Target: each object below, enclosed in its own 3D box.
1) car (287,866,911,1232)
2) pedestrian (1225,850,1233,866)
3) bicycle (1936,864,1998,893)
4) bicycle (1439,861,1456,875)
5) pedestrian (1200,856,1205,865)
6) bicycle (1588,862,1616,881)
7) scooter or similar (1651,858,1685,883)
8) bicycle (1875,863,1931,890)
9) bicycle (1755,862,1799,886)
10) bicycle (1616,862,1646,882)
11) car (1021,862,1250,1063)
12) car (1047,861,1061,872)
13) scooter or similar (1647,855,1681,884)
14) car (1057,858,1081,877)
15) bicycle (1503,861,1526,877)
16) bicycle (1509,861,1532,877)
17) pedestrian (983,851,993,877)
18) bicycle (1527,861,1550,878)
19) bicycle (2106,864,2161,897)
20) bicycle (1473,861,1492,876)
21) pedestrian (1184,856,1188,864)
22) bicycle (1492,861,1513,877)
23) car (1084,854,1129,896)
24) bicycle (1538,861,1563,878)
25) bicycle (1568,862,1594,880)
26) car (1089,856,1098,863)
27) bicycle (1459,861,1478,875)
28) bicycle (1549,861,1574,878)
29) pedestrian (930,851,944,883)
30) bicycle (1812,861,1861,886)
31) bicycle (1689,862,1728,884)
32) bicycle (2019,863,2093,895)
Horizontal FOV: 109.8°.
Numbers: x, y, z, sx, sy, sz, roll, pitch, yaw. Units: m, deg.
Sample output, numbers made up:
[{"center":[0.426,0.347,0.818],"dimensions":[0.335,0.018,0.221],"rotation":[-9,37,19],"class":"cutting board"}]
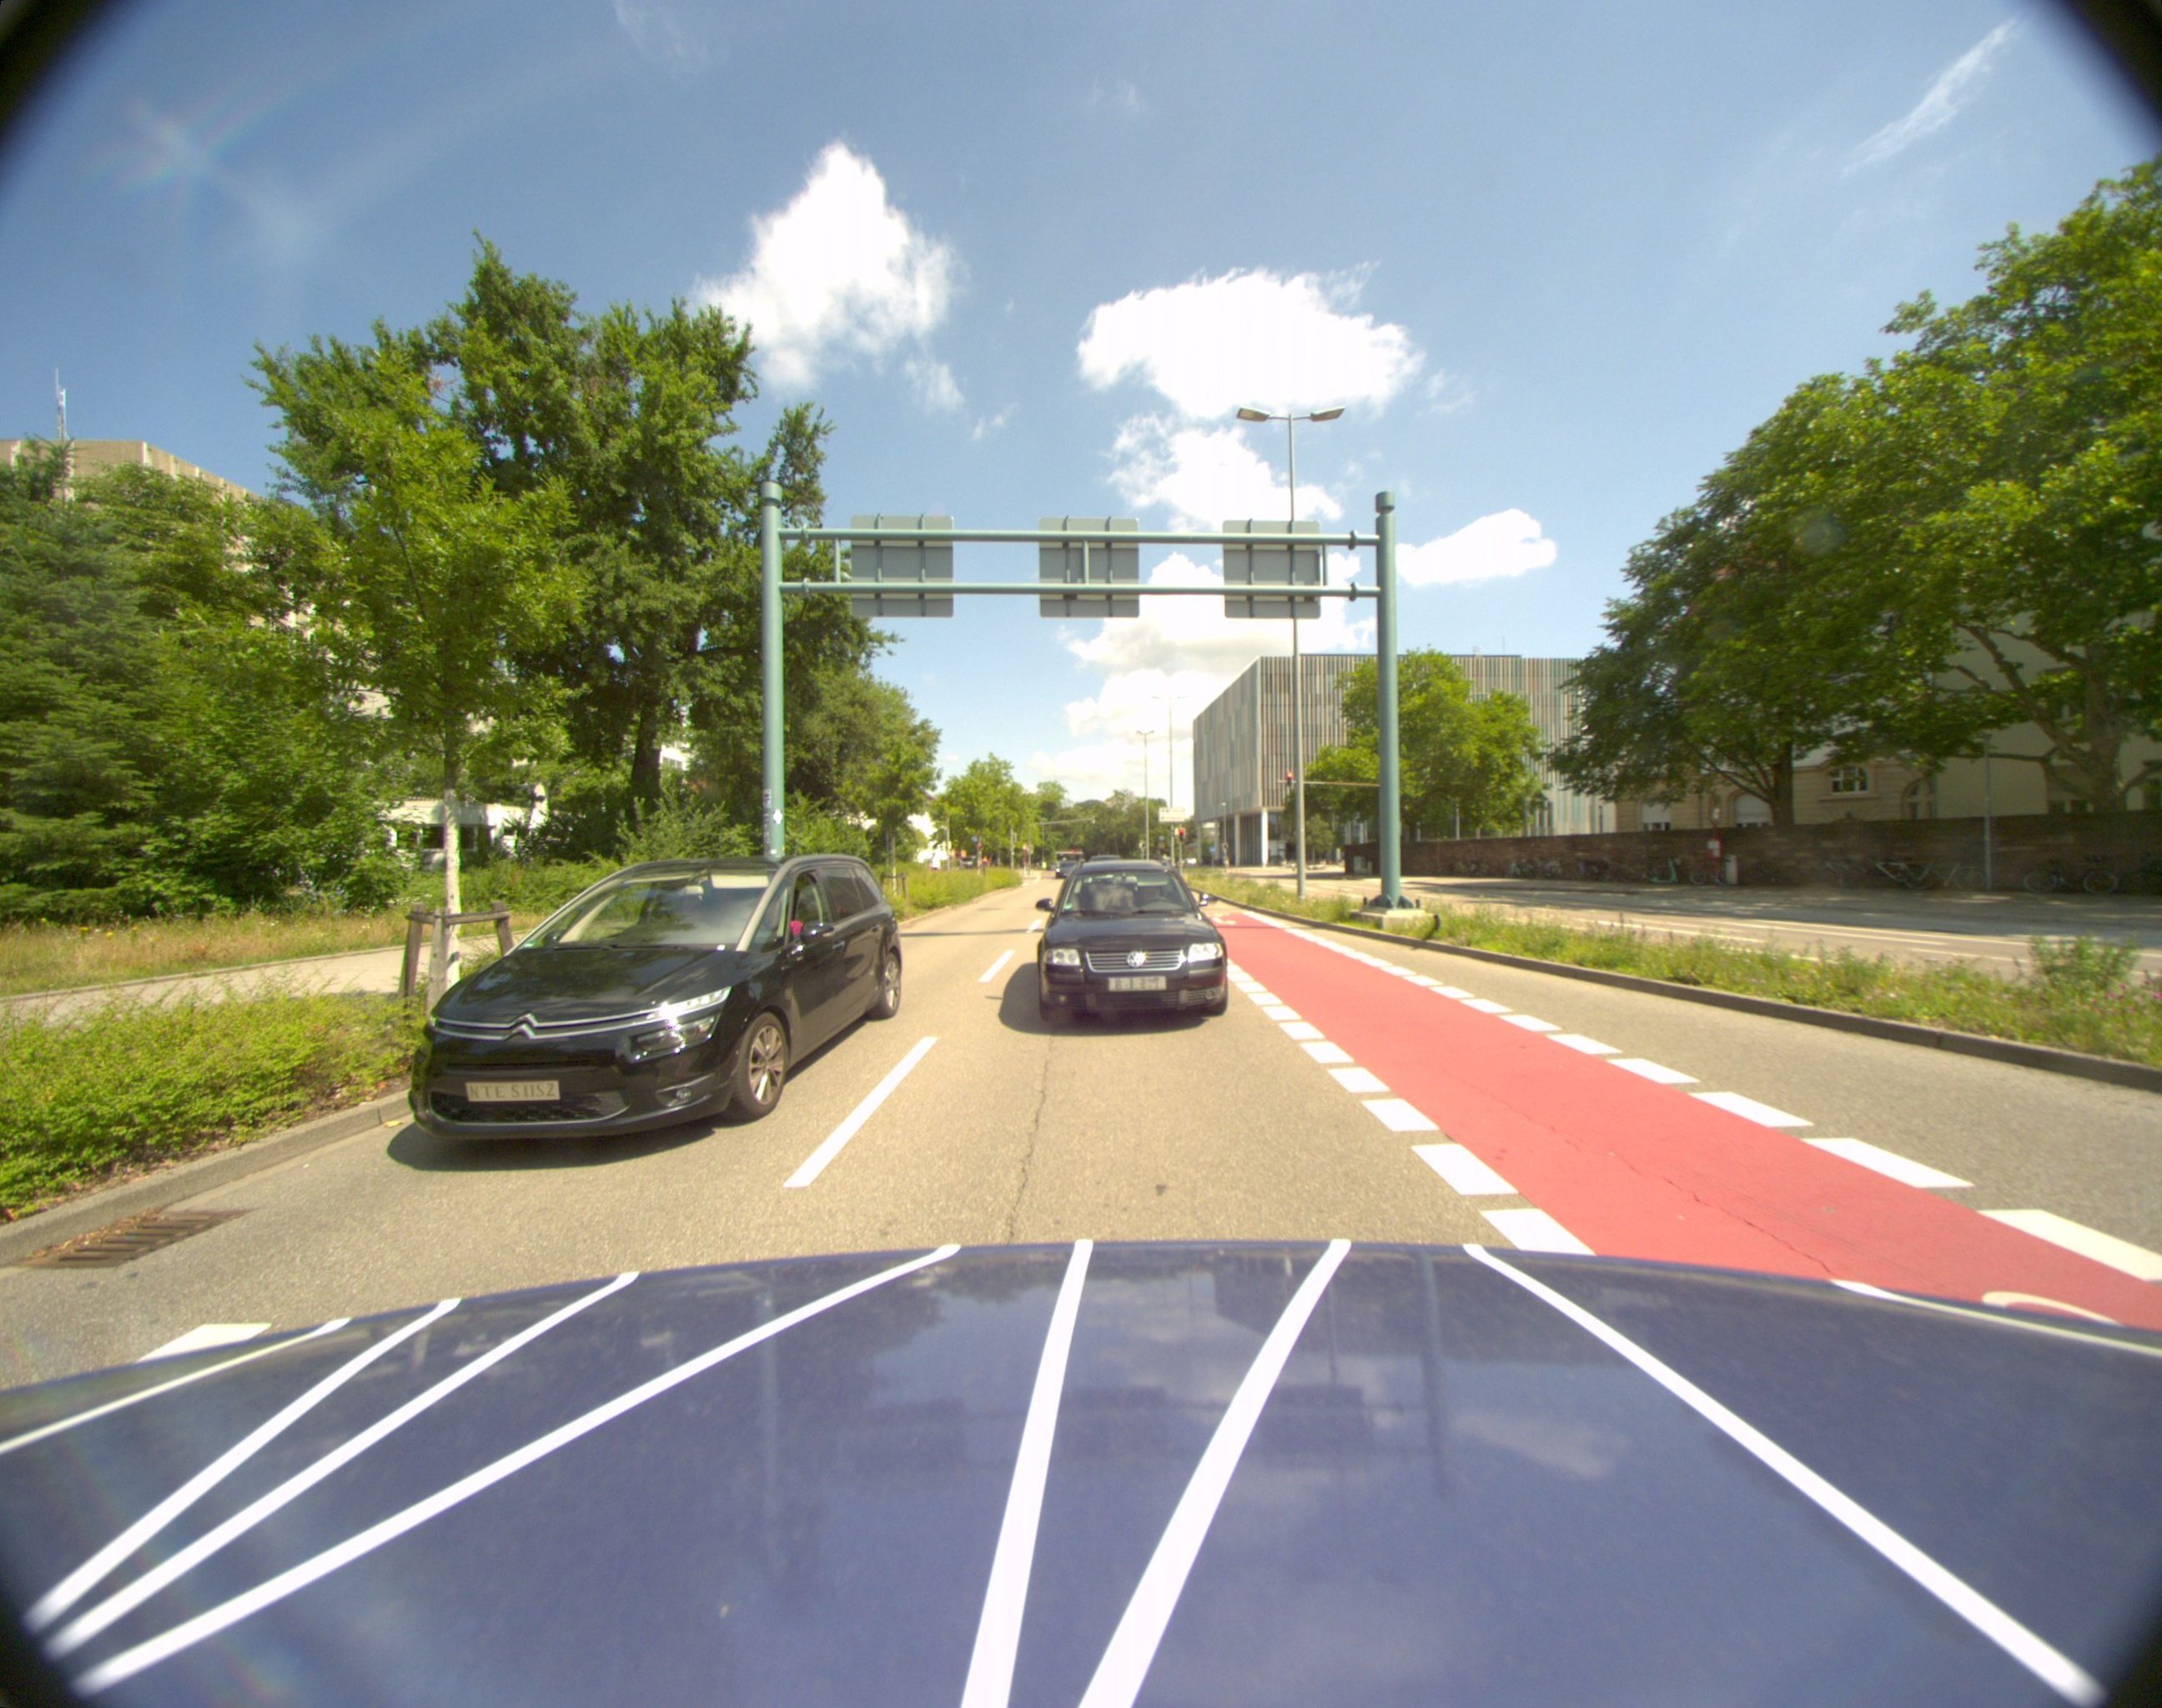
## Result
[{"center":[-2.773,0.956,5.820],"dimensions":[1.816,1.598,4.479],"rotation":[-3,0,1],"class":"car"},{"center":[19.175,0.501,98.321],"dimensions":[0.864,2.002,0.995],"rotation":[-1,0,-1],"class":"pedestrian"},{"center":[26.247,0.725,22.528],"dimensions":[0.265,0.826,1.235],"rotation":[-1,0,-11],"class":"bicycle"},{"center":[22.495,0.848,46.648],"dimensions":[0.265,0.826,1.235],"rotation":[-1,0,-11],"class":"bicycle"},{"center":[19.165,0.994,119.814],"dimensions":[0.696,1.445,0.689],"rotation":[-1,0,5],"class":"pedestrian"},{"center":[23.941,0.789,34.917],"dimensions":[0.265,0.826,1.235],"rotation":[-1,0,-11],"class":"bicycle"},{"center":[24.580,0.697,31.849],"dimensions":[0.266,1.014,1.140],"rotation":[-1,0,-22],"class":"scooter or similar"},{"center":[25.980,0.704,24.037],"dimensions":[0.265,0.826,1.235],"rotation":[-1,0,-11],"class":"bicycle"},{"center":[25.193,0.711,27.519],"dimensions":[0.265,0.826,1.235],"rotation":[-1,0,-11],"class":"bicycle"},{"center":[24.153,0.775,33.369],"dimensions":[0.265,0.826,1.235],"rotation":[-1,0,-11],"class":"bicycle"},{"center":[0.458,0.875,8.249],"dimensions":[1.723,1.472,4.594],"rotation":[-3,0,1],"class":"car"},{"center":[-4.320,1.963,122.133],"dimensions":[1.816,1.598,4.479],"rotation":[-3,0,1],"class":"car"},{"center":[23.852,0.627,31.098],"dimensions":[0.265,1.182,1.234],"rotation":[-1,0,-11],"class":"scooter or similar"},{"center":[-0.975,1.049,61.874],"dimensions":[1.806,1.361,4.157],"rotation":[-1,1,1],"class":"car"},{"center":[22.858,0.800,40.083],"dimensions":[0.265,0.826,1.234],"rotation":[-1,0,-11],"class":"bicycle"},{"center":[23.364,0.795,40.407],"dimensions":[0.265,0.826,1.234],"rotation":[-1,0,-11],"class":"bicycle"},{"center":[-6.355,0.677,51.939],"dimensions":[0.640,1.754,0.885],"rotation":[-1,0,-12],"class":"pedestrian"},{"center":[23.474,0.792,38.996],"dimensions":[0.265,0.826,1.235],"rotation":[-1,0,-11],"class":"bicycle"},{"center":[27.132,0.673,19.345],"dimensions":[0.265,0.826,1.234],"rotation":[-1,0,-13],"class":"bicycle"},{"center":[22.933,0.807,43.429],"dimensions":[0.265,0.826,1.234],"rotation":[-1,0,-11],"class":"bicycle"},{"center":[17.985,1.004,129.953],"dimensions":[0.696,1.445,0.689],"rotation":[-1,0,5],"class":"pedestrian"},{"center":[23.158,0.822,41.802],"dimensions":[0.265,0.826,1.234],"rotation":[-1,0,-11],"class":"bicycle"},{"center":[1.027,0.828,32.073],"dimensions":[1.723,1.545,4.594],"rotation":[-3,0,1],"class":"car"},{"center":[23.190,0.754,37.525],"dimensions":[0.265,0.826,1.234],"rotation":[-1,0,-11],"class":"bicycle"},{"center":[23.800,0.785,36.189],"dimensions":[0.265,0.826,1.235],"rotation":[-1,0,-11],"class":"bicycle"},{"center":[2.840,1.279,171.647],"dimensions":[1.758,1.581,4.275],"rotation":[-1,0,-4],"class":"car"},{"center":[22.812,0.830,44.753],"dimensions":[0.265,0.826,1.235],"rotation":[-1,0,-11],"class":"bicycle"},{"center":[23.668,0.753,37.468],"dimensions":[0.265,0.826,1.235],"rotation":[-1,0,-11],"class":"bicycle"},{"center":[-9.175,0.817,48.389],"dimensions":[0.846,2.026,0.901],"rotation":[-1,0,-10],"class":"pedestrian"},{"center":[25.688,0.643,25.850],"dimensions":[0.265,0.826,1.235],"rotation":[-1,0,-11],"class":"bicycle"},{"center":[24.823,0.744,30.079],"dimensions":[0.265,0.826,1.233],"rotation":[-1,0,-21],"class":"bicycle"},{"center":[26.622,0.672,20.767],"dimensions":[0.265,0.826,1.234],"rotation":[-1,0,-13],"class":"bicycle"}]
